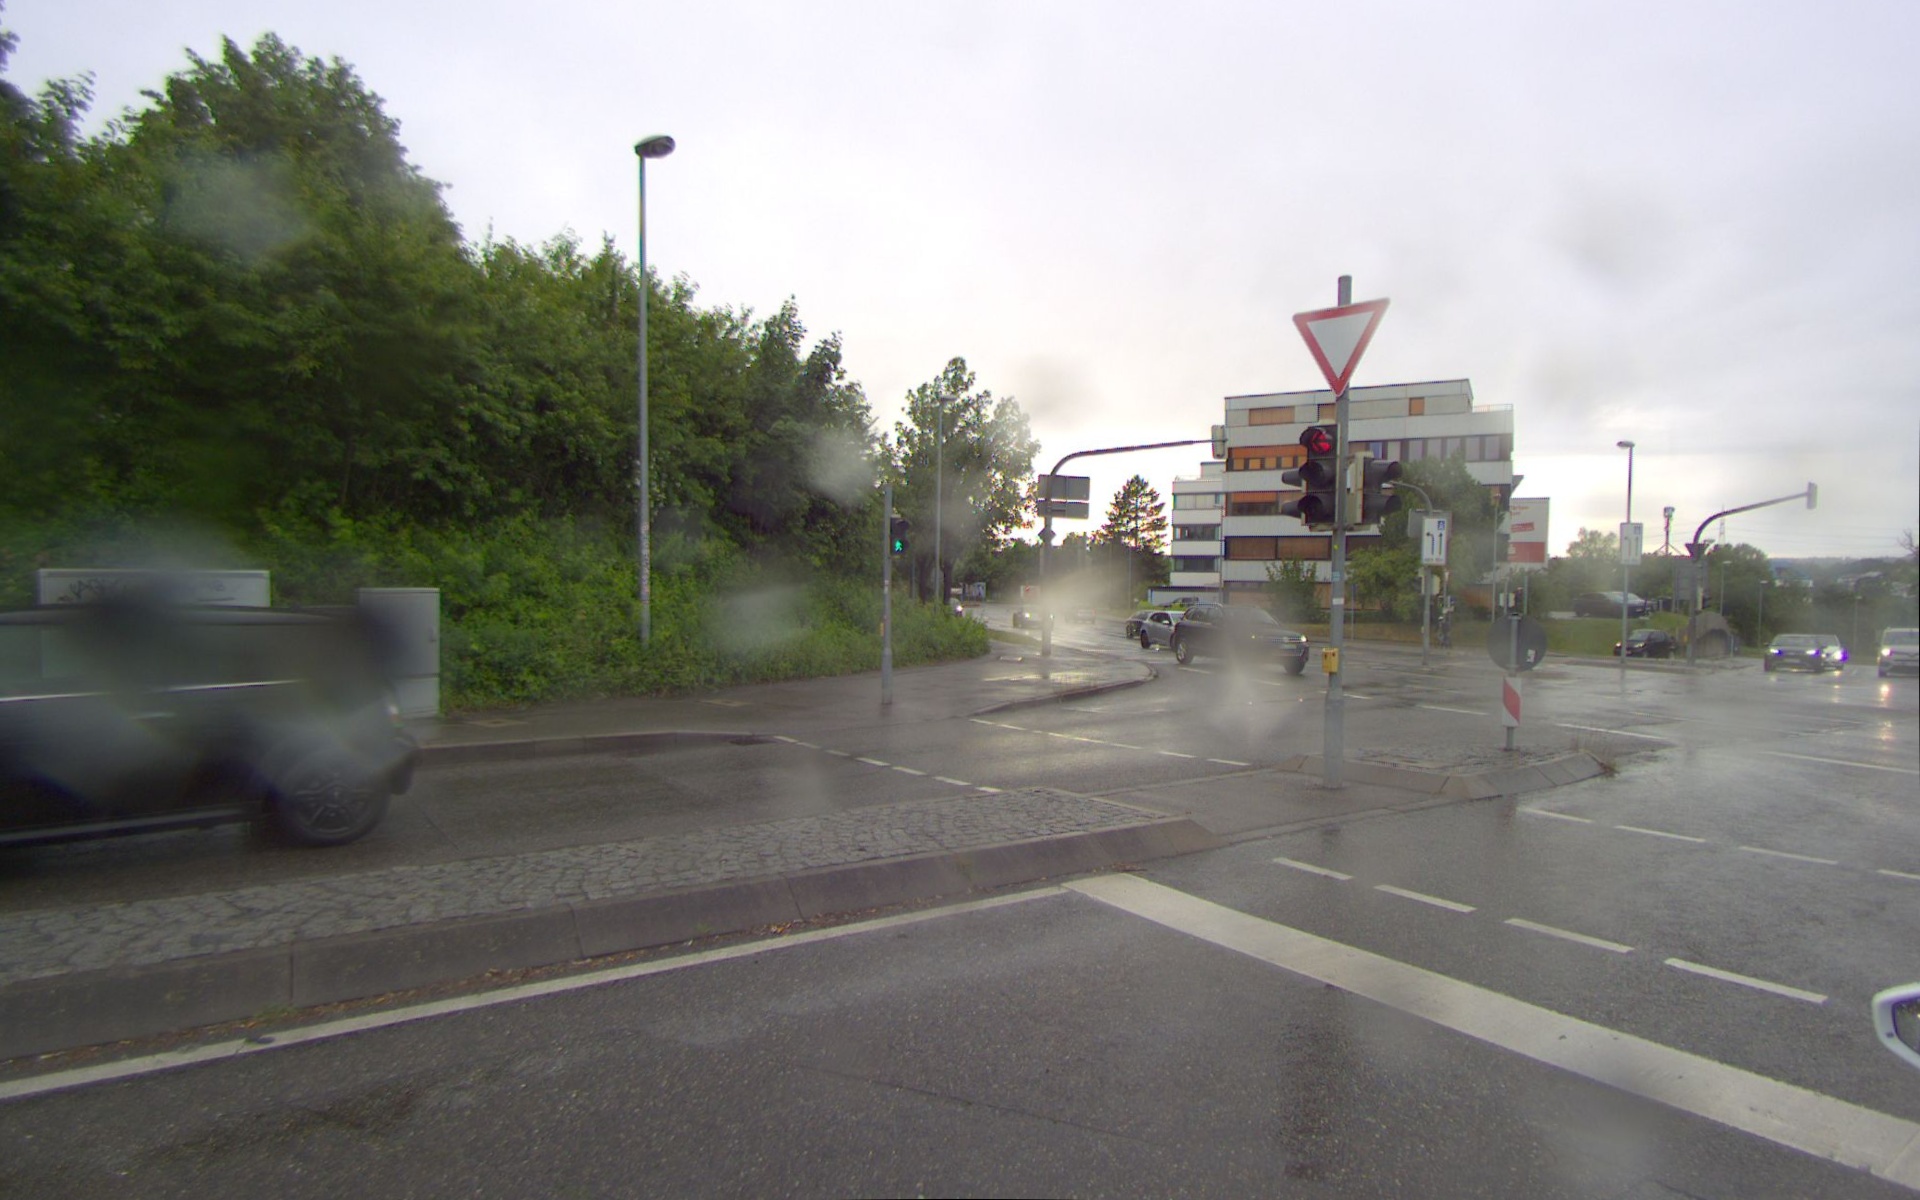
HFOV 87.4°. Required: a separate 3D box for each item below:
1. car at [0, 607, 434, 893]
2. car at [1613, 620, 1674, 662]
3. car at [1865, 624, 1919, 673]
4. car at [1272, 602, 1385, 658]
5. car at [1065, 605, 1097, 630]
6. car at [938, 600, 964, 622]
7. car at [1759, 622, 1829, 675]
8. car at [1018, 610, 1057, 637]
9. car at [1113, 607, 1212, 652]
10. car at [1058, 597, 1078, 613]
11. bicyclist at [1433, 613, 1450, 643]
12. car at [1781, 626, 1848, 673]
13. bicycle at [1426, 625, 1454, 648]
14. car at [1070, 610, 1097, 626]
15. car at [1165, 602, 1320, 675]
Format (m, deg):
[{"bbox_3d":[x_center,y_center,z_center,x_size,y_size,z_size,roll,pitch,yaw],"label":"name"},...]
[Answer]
[{"bbox_3d":[-5.129,0.752,5.756,3.436,1.405,1.660,2,-1,-43],"label":"car"},{"bbox_3d":[34.732,2.036,51.014,1.972,1.920,3.977,2,1,43],"label":"car"},{"bbox_3d":[34.796,1.746,36.940,3.974,1.639,1.973,1,1,-45],"label":"car"},{"bbox_3d":[13.652,1.063,37.476,1.966,1.865,4.143,1,1,-14],"label":"car"},{"bbox_3d":[9.318,1.347,77.597,1.784,1.818,3.997,1,0,-4],"label":"car"},{"bbox_3d":[-0.680,0.820,75.825,1.809,1.534,3.999,1,0,-2],"label":"car"},{"bbox_3d":[33.681,1.907,40.531,1.971,1.920,3.978,2,1,42],"label":"car"},{"bbox_3d":[4.454,1.323,58.266,1.821,1.377,4.445,1,1,-2],"label":"car"},{"bbox_3d":[7.315,1.048,36.713,1.895,1.436,4.139,1,1,-15],"label":"car"},{"bbox_3d":[11.838,0.562,110.493,1.918,1.617,4.000,1,1,2],"label":"car"},{"bbox_3d":[24.593,1.429,51.333,0.591,1.465,0.545,1,1,2],"label":"bicyclist"},{"bbox_3d":[38.865,2.190,45.660,1.973,1.920,3.974,2,1,45],"label":"car"},{"bbox_3d":[24.589,1.865,51.506,0.598,1.066,1.780,1,1,2],"label":"bicycle"},{"bbox_3d":[9.490,1.378,77.325,1.784,1.120,3.517,1,0,2],"label":"car"},{"bbox_3d":[7.474,0.969,27.114,1.967,1.725,4.597,1,1,-15],"label":"car"}]
